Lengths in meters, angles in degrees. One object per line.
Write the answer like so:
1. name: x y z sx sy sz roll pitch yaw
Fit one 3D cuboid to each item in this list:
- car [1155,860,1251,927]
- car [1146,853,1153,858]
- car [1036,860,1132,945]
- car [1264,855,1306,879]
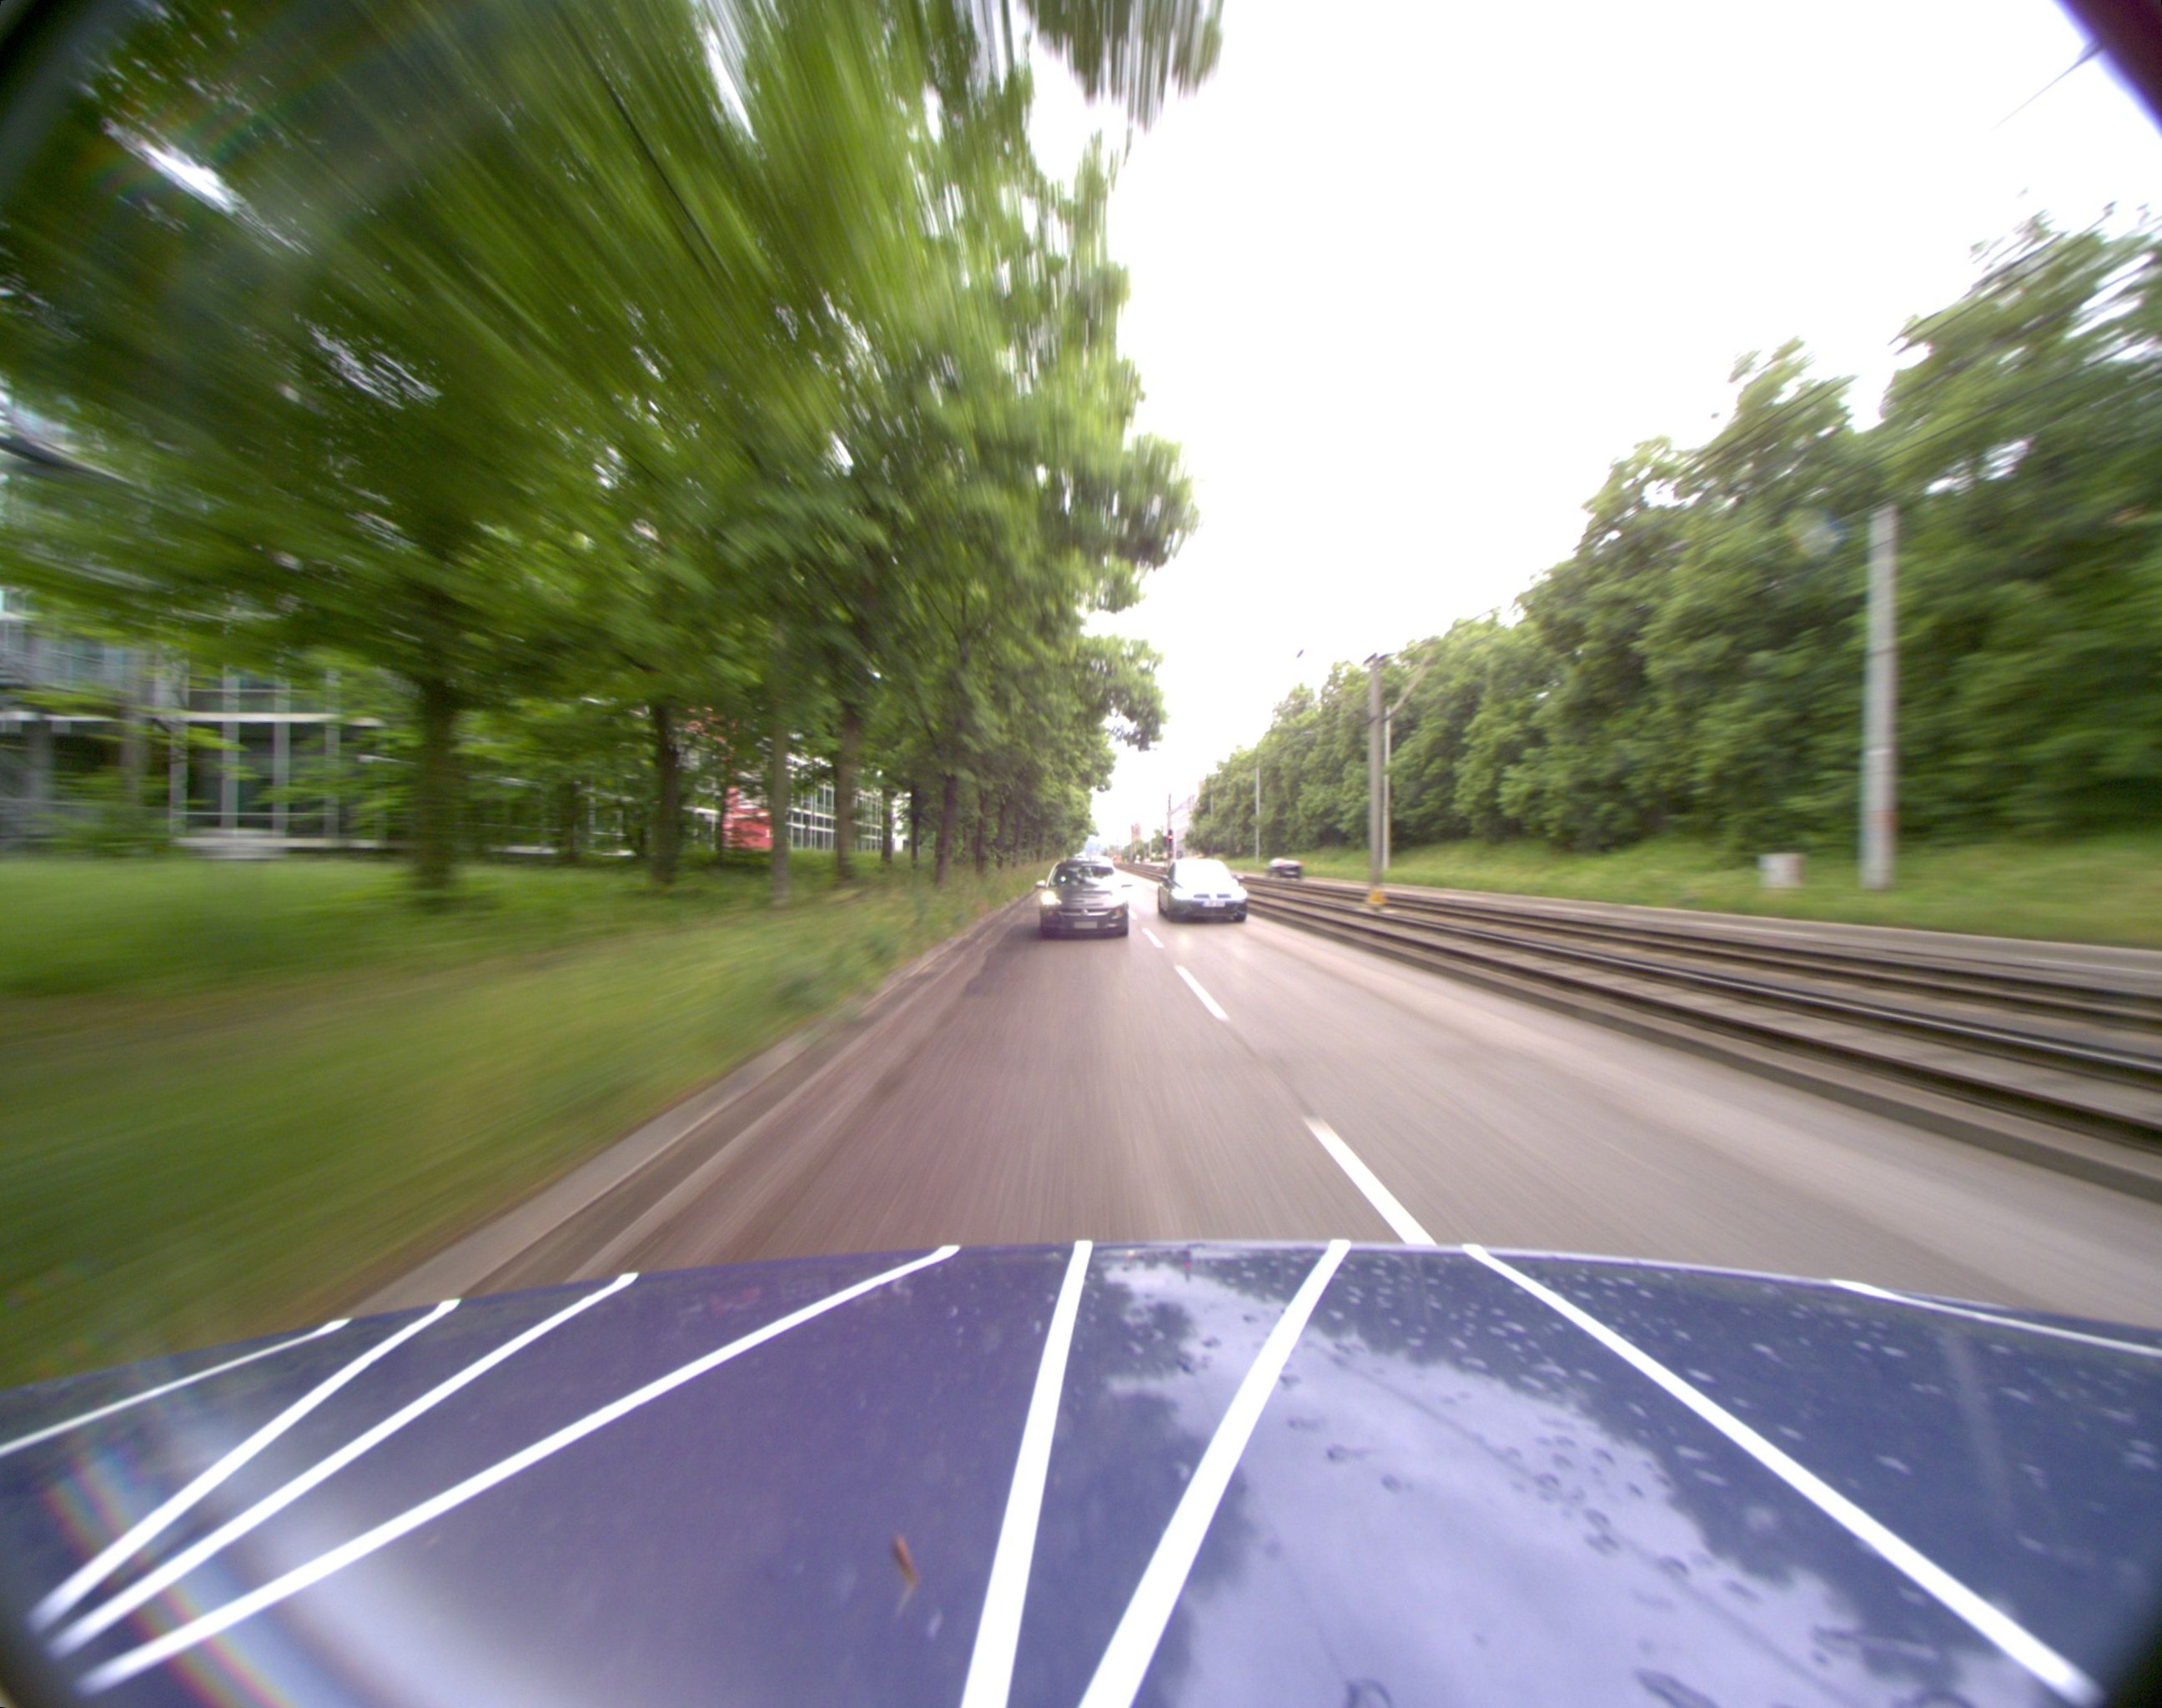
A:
1. car: 2.894 0.894 18.796 1.770 1.439 3.833 0 0 0
2. car: 19.140 0.367 213.234 1.480 1.427 3.909 2 0 1
3. car: 0.096 0.907 15.996 1.698 1.439 4.420 -2 0 1
4. car: 13.601 0.815 50.819 1.674 1.435 4.026 2 0 -1
